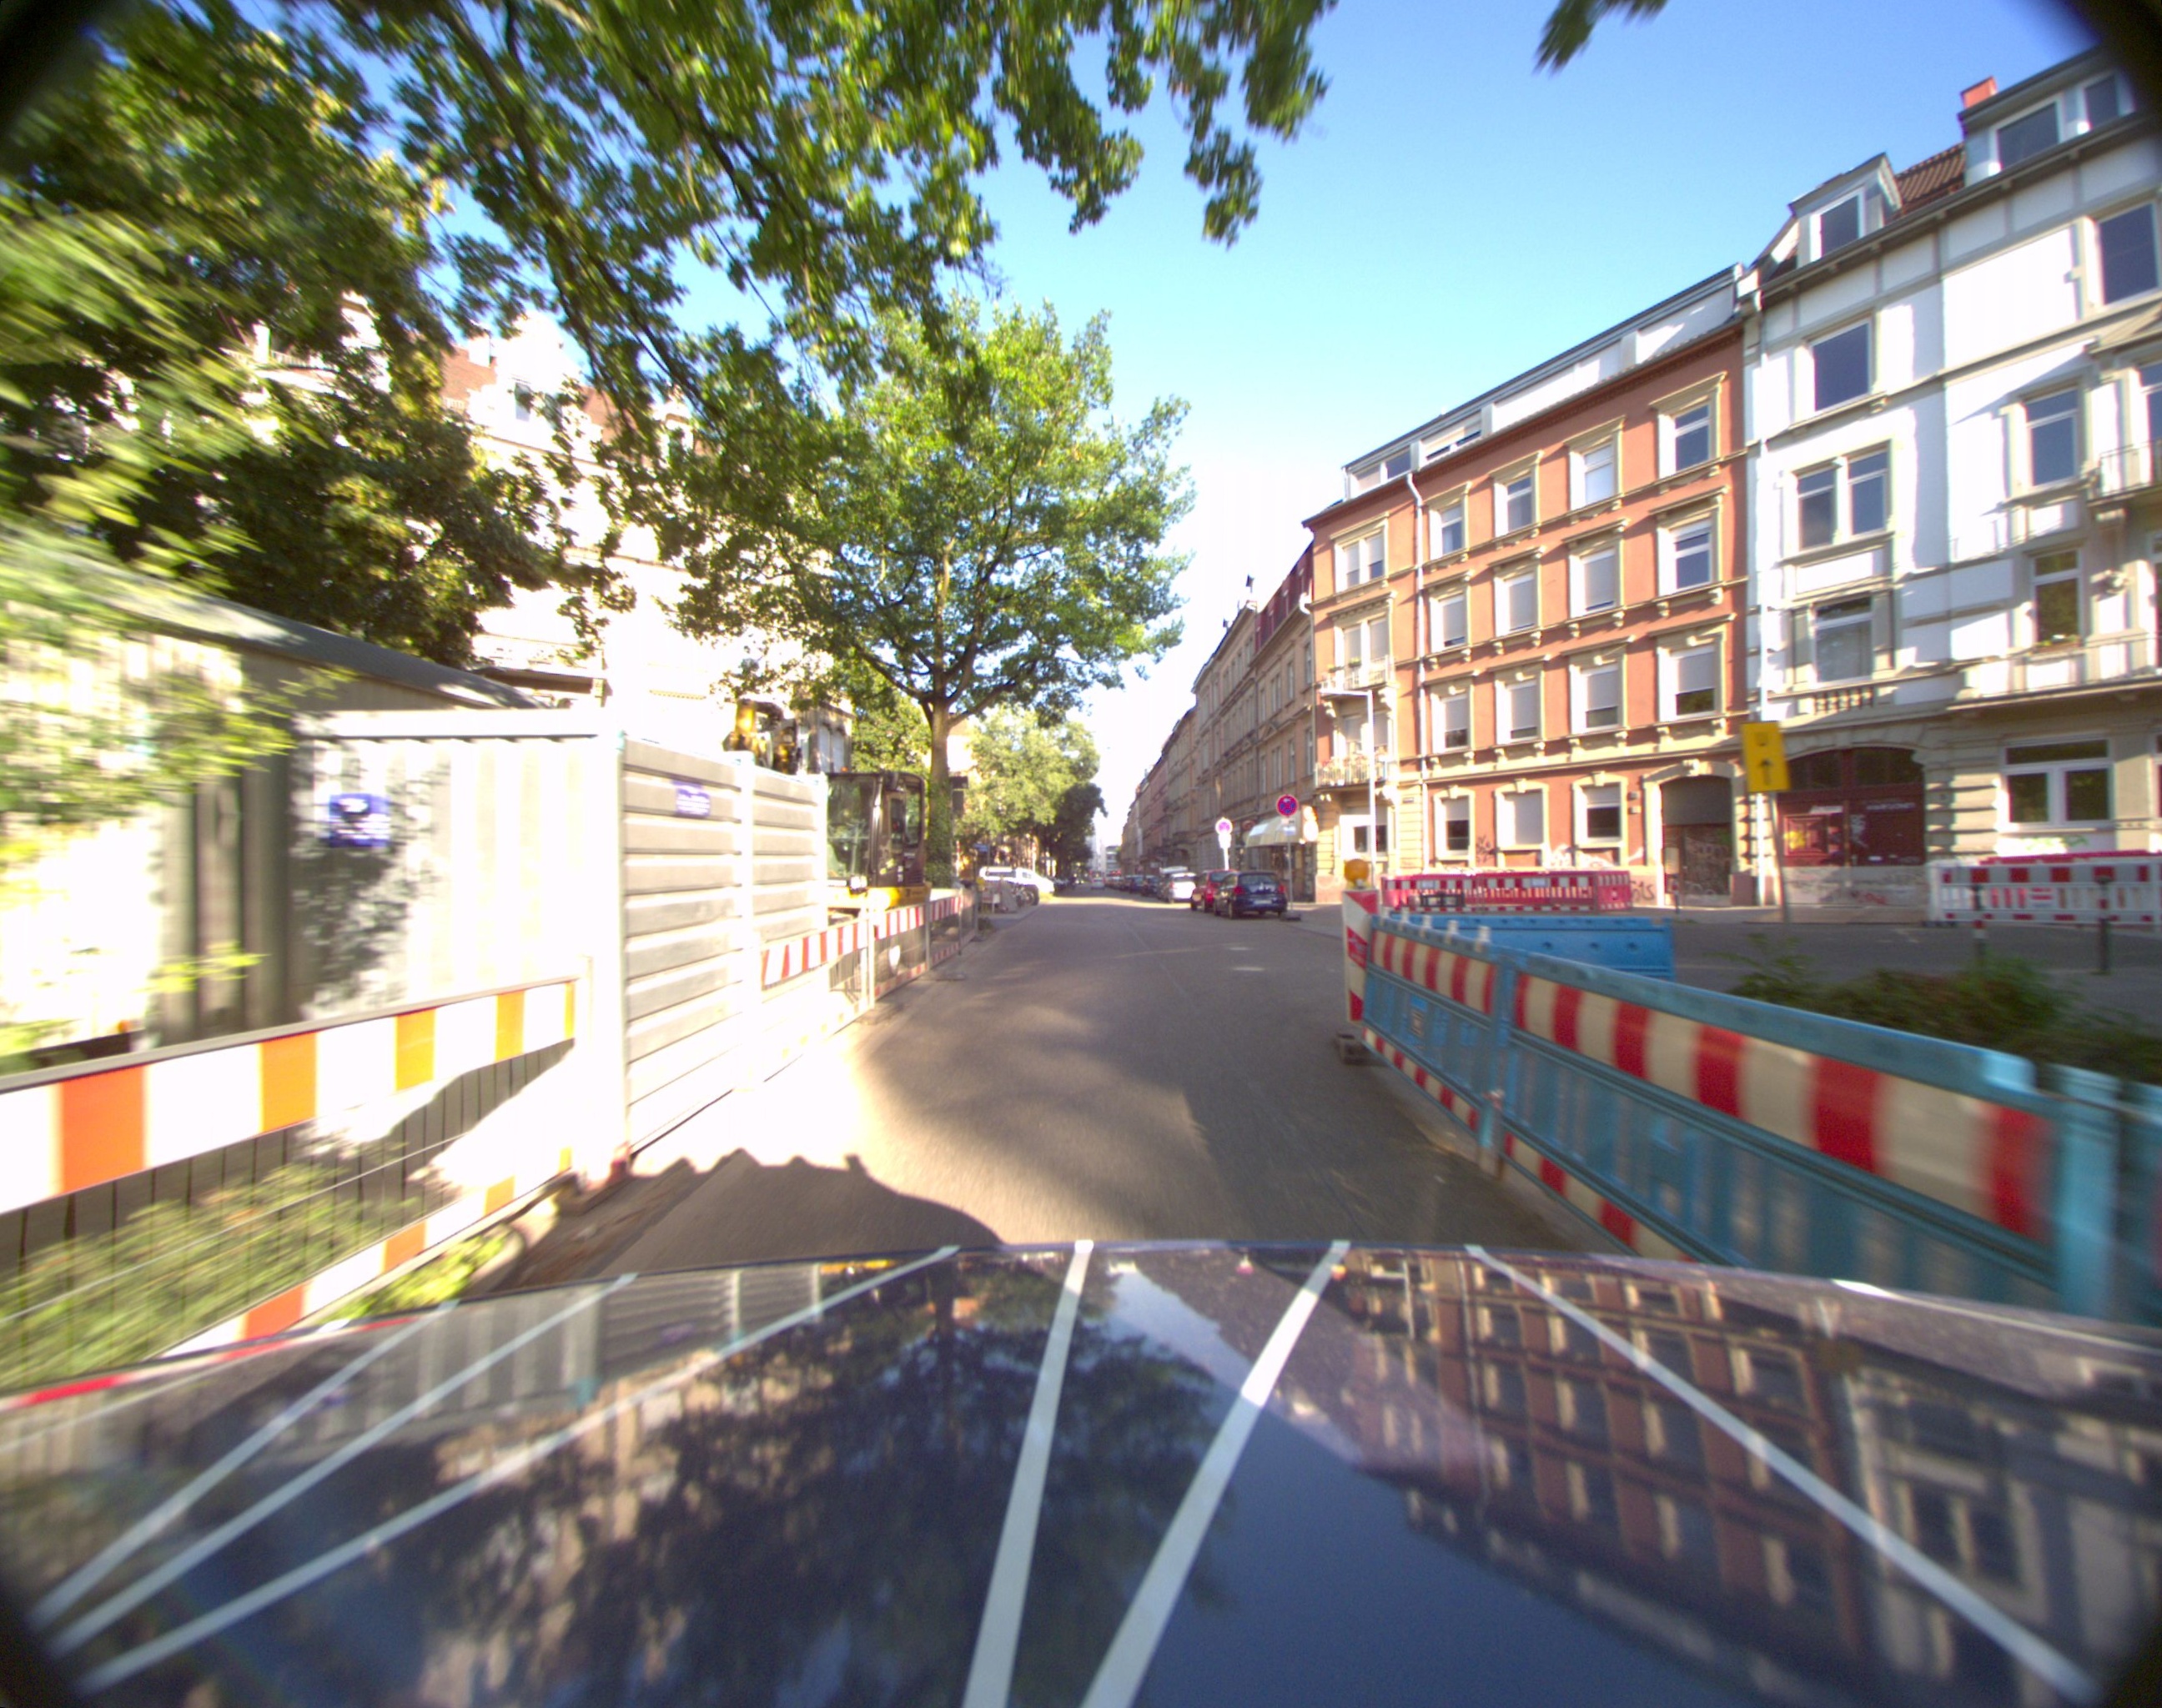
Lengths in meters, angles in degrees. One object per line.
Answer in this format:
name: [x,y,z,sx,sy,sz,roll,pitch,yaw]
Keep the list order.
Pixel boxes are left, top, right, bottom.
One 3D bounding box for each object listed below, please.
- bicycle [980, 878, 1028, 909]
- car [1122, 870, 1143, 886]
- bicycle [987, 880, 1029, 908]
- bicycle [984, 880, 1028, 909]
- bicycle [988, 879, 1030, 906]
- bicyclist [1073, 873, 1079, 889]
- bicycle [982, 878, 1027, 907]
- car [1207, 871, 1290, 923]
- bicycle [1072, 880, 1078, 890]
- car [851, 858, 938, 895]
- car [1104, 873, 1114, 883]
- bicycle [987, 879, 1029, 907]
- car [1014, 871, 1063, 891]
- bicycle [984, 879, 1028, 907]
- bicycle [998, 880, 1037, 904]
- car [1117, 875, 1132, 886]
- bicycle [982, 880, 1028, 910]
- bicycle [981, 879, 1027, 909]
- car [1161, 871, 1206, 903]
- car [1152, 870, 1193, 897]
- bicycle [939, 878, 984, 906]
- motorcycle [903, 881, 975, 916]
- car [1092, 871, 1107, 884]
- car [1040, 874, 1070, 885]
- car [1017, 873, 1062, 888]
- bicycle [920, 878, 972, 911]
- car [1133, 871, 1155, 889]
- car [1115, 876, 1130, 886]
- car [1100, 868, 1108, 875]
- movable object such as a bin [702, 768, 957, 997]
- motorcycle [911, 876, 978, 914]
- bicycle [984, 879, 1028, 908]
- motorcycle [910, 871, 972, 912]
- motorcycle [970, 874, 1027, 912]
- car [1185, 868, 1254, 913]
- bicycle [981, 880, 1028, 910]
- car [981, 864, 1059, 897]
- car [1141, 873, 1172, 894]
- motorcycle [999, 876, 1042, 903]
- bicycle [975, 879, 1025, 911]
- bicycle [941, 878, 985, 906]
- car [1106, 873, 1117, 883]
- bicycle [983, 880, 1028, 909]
bicycle: [-3.200,1.651,31.570,1.930,1.238,0.303,-1,-1,-6]
car: [5.336,2.502,79.244,1.652,1.564,4.049,-3,-2,-4]
bicycle: [-3.375,1.837,35.255,1.930,1.238,0.303,-1,-1,-6]
bicycle: [-3.340,1.793,33.951,1.930,1.238,0.303,-1,-1,-6]
bicycle: [-3.385,1.807,35.563,1.930,1.238,0.303,-1,-1,-6]
bicyclist: [-0.659,3.286,92.173,0.712,1.864,1.121,0,-1,0]
bicycle: [-3.326,1.672,33.261,1.930,1.238,0.303,-1,-1,-6]
car: [5.135,1.277,23.744,1.673,1.449,4.001,-1,-1,0]
bicycle: [-0.675,3.753,92.115,0.712,1.252,1.888,0,-2,0]
car: [-13.576,1.629,55.649,5.912,2.522,2.379,-1,-1,-6]
car: [5.883,5.112,161.457,1.947,2.044,4.746,-2,-2,0]
bicycle: [-3.354,1.795,34.926,1.930,1.238,0.303,-1,-1,-6]
car: [-4.489,2.845,81.274,5.104,1.929,2.158,-1,2,1]
bicycle: [-3.378,1.761,34.276,1.930,1.238,0.303,-1,-1,-6]
bicycle: [-3.077,1.819,36.828,1.822,1.121,0.443,1,-1,-1]
car: [5.417,3.288,94.549,1.709,1.430,3.960,0,-2,1]
bicycle: [-3.235,1.732,32.245,1.911,1.238,0.303,-1,-1,-6]
bicycle: [-3.283,1.700,32.573,1.930,1.238,0.303,-1,-1,-6]
car: [5.133,1.636,38.373,1.729,1.428,3.997,-3,-2,1]
car: [5.216,1.686,43.748,1.769,1.428,4.301,-1,-2,-1]
bicycle: [-5.382,1.711,34.237,1.930,1.238,0.479,-1,-1,-5]
motorcycle: [-4.979,1.555,26.688,2.286,1.173,0.972,-1,-1,13]
car: [2.350,2.986,96.919,1.753,1.500,4.001,-1,-2,1]
car: [-3.965,3.855,115.822,4.487,1.646,1.891,-1,0,-1]
car: [-4.116,2.632,76.111,4.380,1.447,1.934,0,-1,1]
bicycle: [-5.267,1.581,29.645,1.930,1.238,0.479,-1,-1,-5]
car: [5.619,2.302,67.936,1.746,1.557,3.896,-1,-2,1]
car: [5.415,3.488,99.158,1.709,1.315,4.102,0,-2,1]
car: [5.507,4.212,181.964,1.868,1.619,3.827,-2,-2,2]
movable object such as a bin: [-3.312,0.378,10.636,1.996,2.683,3.114,-1,-1,14]
motorcycle: [-4.955,1.474,27.546,2.286,1.333,0.657,-1,-1,12]
bicycle: [-3.410,1.800,34.611,1.930,1.238,0.303,-1,-1,-6]
motorcycle: [-5.419,1.428,29.515,2.289,1.522,0.756,-1,-1,-6]
motorcycle: [-3.145,1.479,28.868,1.933,1.404,0.943,-2,-1,28]
car: [5.039,1.316,28.198,1.674,1.521,4.000,-1,-1,-2]
bicycle: [-3.225,1.711,31.904,1.930,1.238,0.303,-1,-1,-6]
car: [-4.007,1.756,50.717,4.986,2.083,2.106,-1,-1,0]
car: [5.255,2.050,53.580,1.708,1.445,4.021,-1,-2,-1]
motorcycle: [-2.984,1.764,37.516,2.028,1.277,0.904,1,-1,-1]
bicycle: [-3.194,1.618,30.041,1.930,1.238,0.303,-1,-1,-6]
bicycle: [-5.399,1.727,34.752,1.930,1.238,0.479,-1,-1,-5]
car: [5.813,4.473,144.164,1.847,1.822,4.608,-1,-2,-1]
bicycle: [-3.340,1.777,33.604,1.930,1.238,0.303,-1,-1,-6]
